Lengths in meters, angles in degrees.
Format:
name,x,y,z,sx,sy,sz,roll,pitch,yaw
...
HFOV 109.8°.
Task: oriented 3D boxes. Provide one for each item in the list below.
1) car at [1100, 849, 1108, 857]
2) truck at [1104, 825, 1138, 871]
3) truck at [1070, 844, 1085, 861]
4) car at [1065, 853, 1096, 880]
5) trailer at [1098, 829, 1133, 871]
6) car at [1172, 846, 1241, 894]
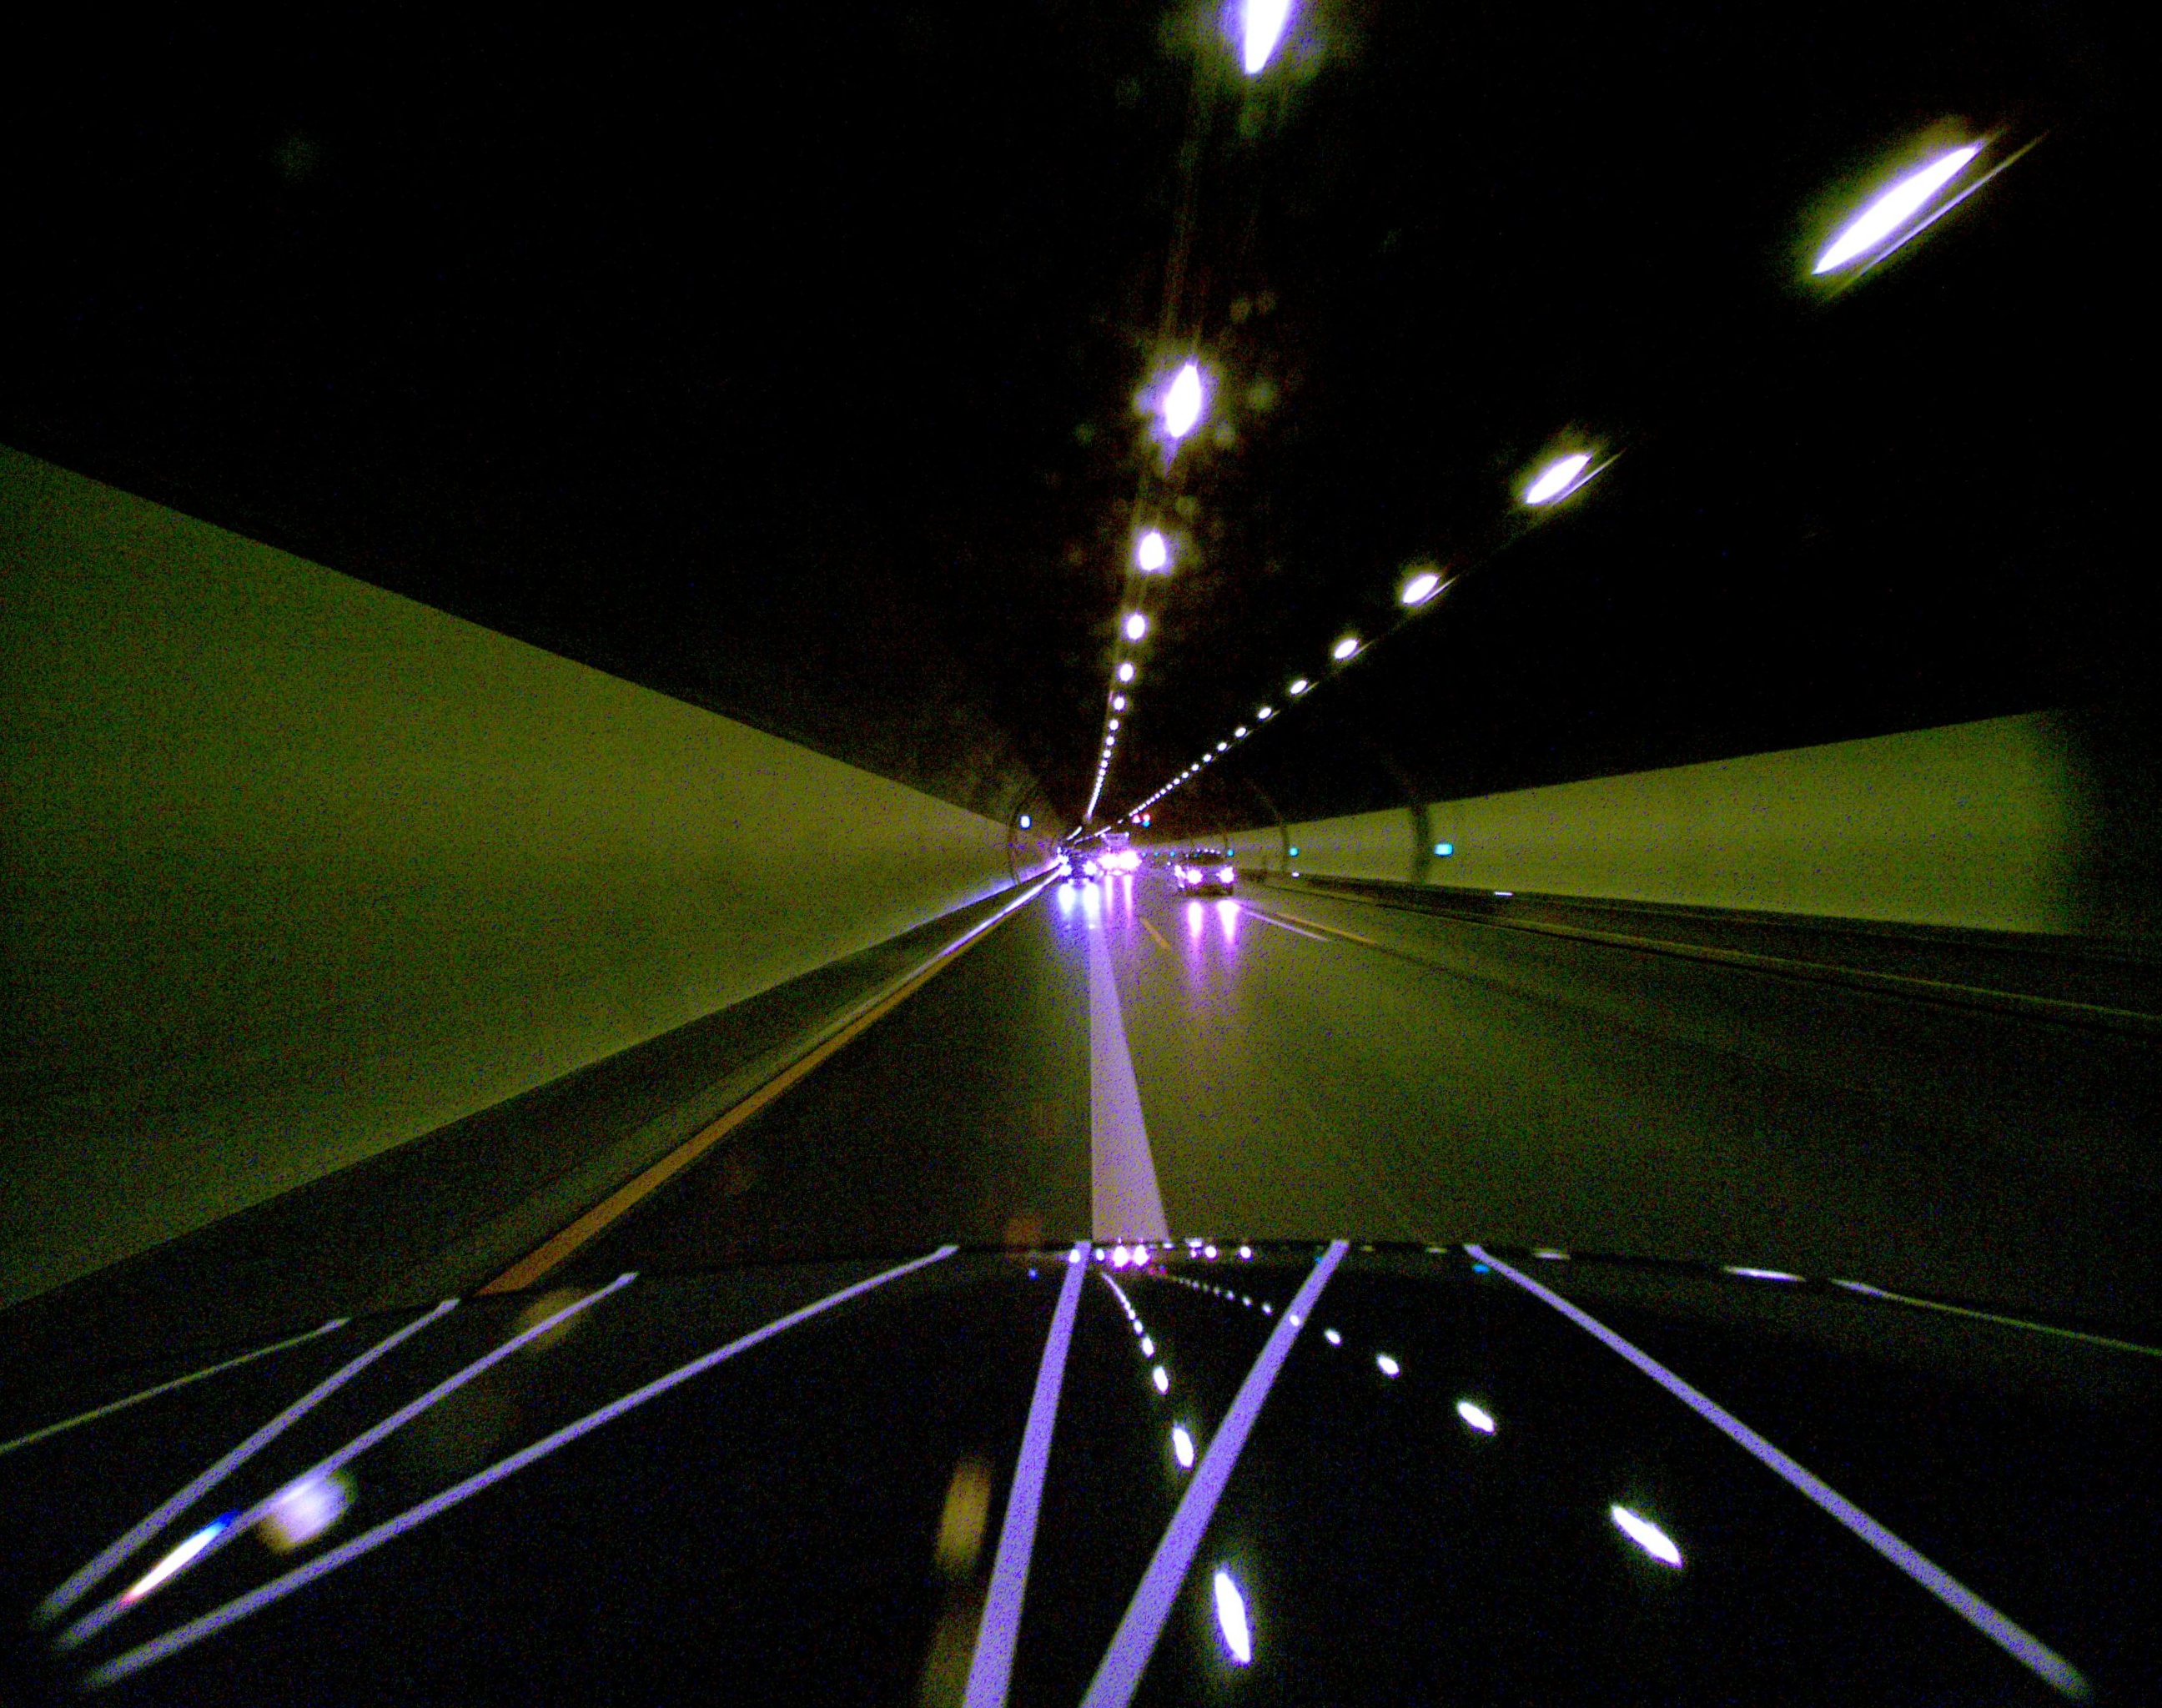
name,x,y,z,sx,sy,sz,roll,pitch,yaw
car,6.081,-0.184,201.404,1.929,2.002,4.000,-3,0,1
truck,3.068,-0.479,59.808,2.374,3.328,4.719,-4,1,2
truck,-0.634,-0.222,126.024,2.151,2.609,9.907,-2,-1,-2
car,-0.001,0.727,46.232,1.728,1.474,4.000,-1,0,1
trailer,2.880,-0.363,66.234,2.374,3.328,12.077,0,0,-1
car,4.513,0.528,27.829,1.766,1.563,4.096,-2,1,0
